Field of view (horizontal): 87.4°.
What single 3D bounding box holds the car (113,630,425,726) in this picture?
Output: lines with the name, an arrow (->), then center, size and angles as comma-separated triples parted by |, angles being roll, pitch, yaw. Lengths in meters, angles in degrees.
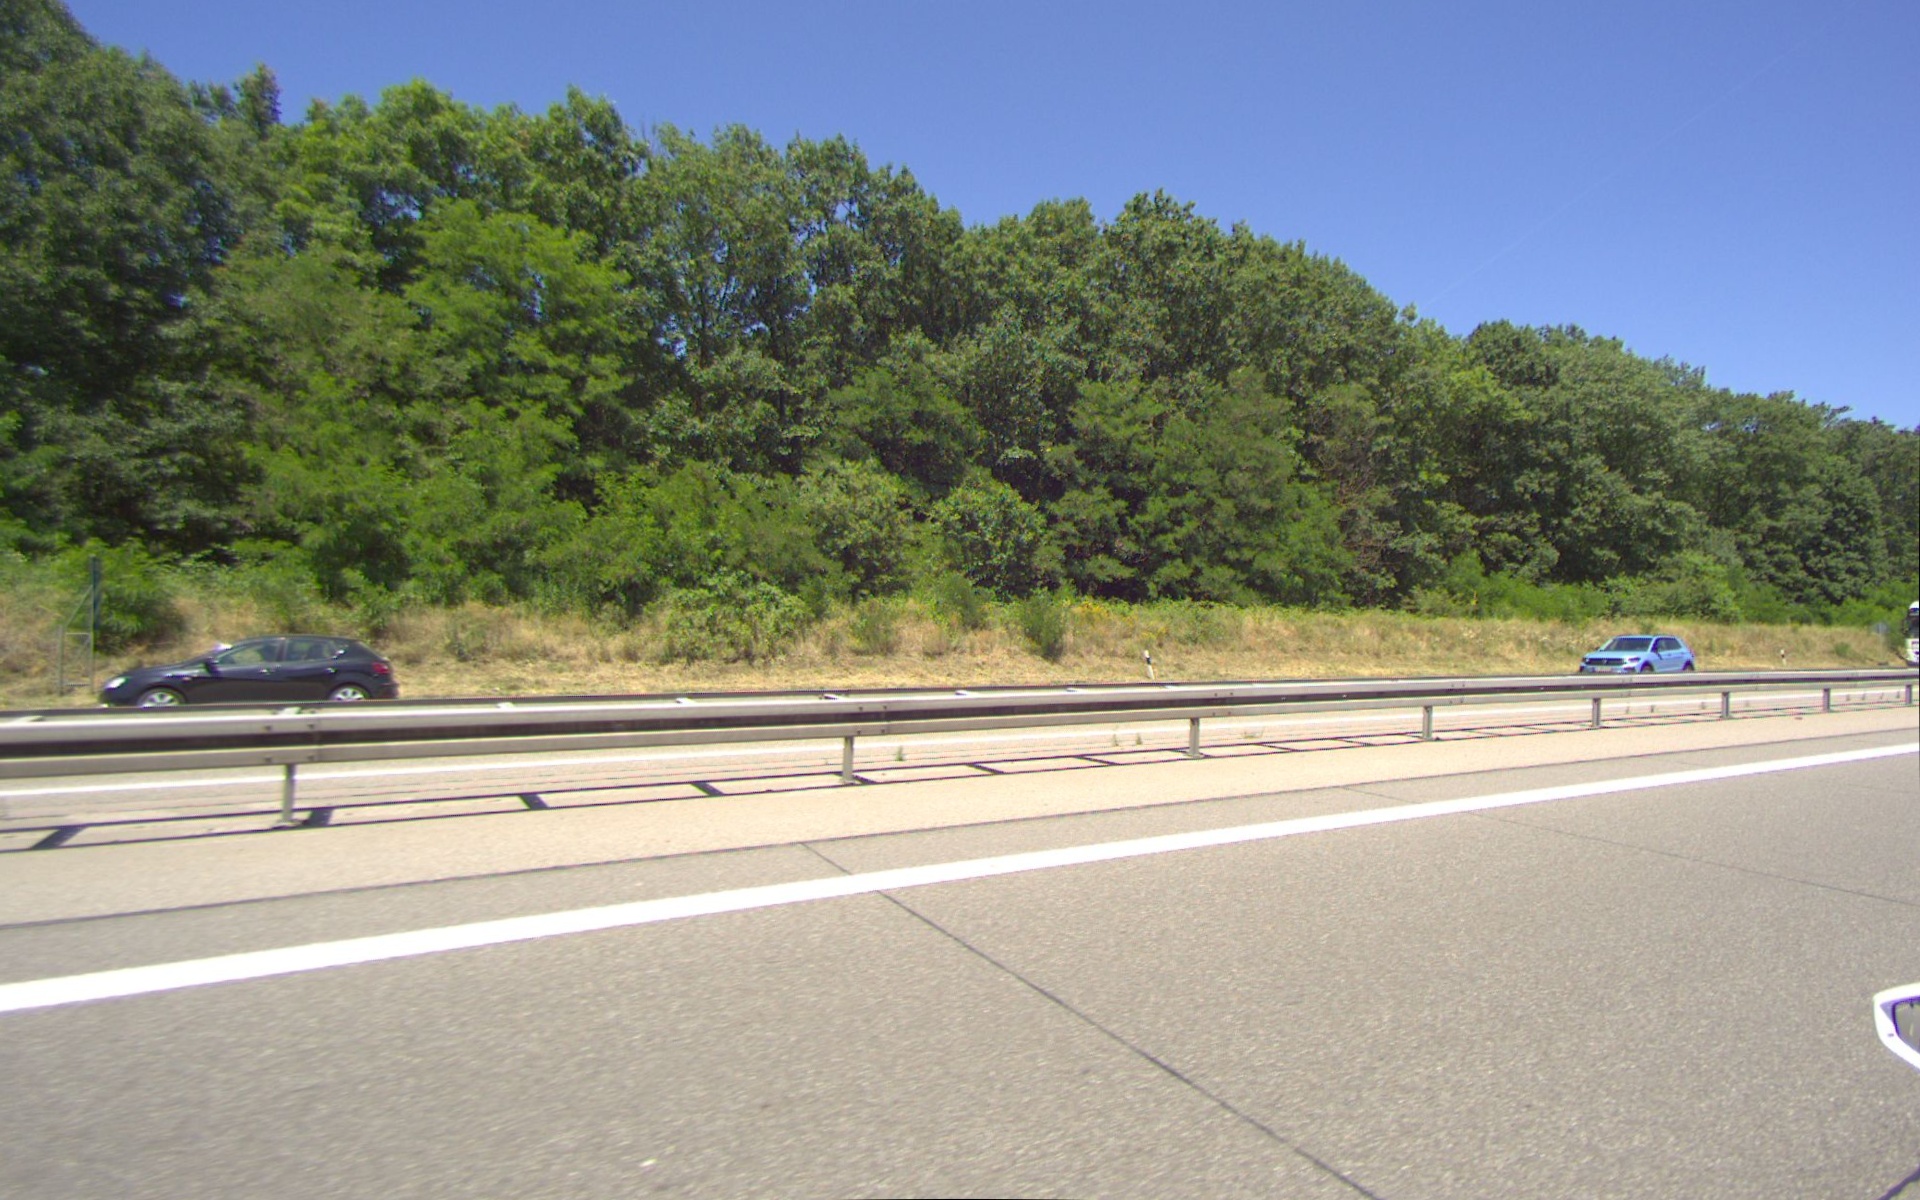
car -> -11.243, 1.245, 16.723 | 4.063, 1.413, 1.806 | 1, -3, -30

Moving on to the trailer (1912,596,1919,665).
trailer -> 62.027, 1.886, 60.897 | 12.811, 4.044, 2.897 | 2, -3, -31

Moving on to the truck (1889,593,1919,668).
truck -> 55.787, 1.748, 57.072 | 5.589, 4.120, 2.890 | 1, -3, -31

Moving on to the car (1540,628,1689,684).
car -> 19.872, 1.675, 30.456 | 4.475, 1.588, 1.985 | 1, -3, -30
